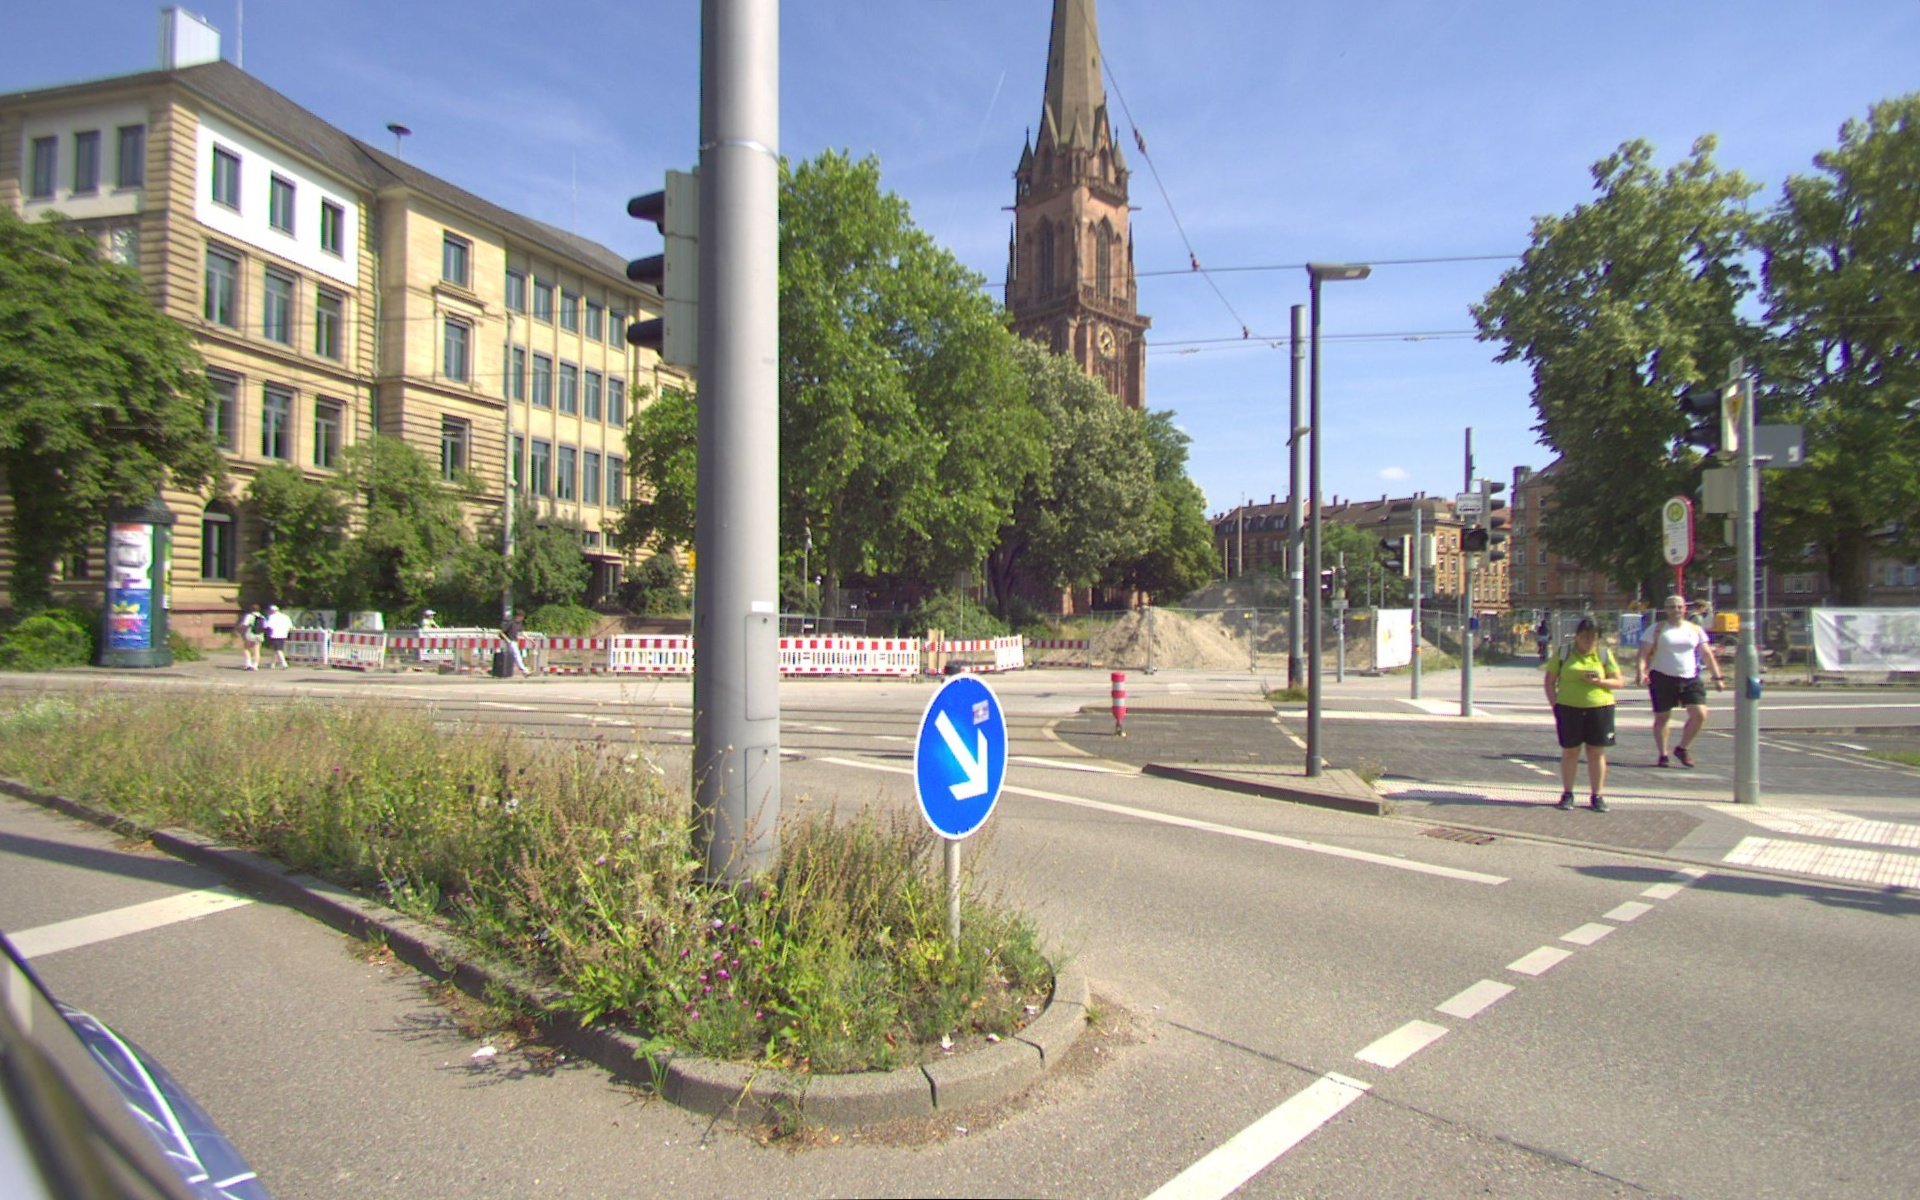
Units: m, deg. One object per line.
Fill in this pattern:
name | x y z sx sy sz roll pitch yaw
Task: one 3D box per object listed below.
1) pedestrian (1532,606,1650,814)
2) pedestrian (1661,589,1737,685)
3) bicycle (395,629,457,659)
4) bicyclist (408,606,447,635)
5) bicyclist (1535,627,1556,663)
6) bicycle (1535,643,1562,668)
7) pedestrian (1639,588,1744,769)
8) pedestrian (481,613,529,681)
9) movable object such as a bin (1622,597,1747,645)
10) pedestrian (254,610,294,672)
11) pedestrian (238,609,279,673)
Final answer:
pedestrian | 5.017 0.840 8.052 0.417 1.555 0.669 -2 1 -42
pedestrian | 13.463 0.668 18.455 0.923 1.726 0.558 -1 -2 1
bicycle | -17.149 1.399 32.494 1.646 0.954 0.700 0 -2 8
bicyclist | -17.109 0.666 32.509 0.859 0.934 0.681 0 -1 8
bicyclist | 23.013 1.769 39.801 0.616 1.370 1.163 0 -2 25
bicycle | 22.871 2.144 39.360 0.758 0.930 2.052 0 -2 26
pedestrian | 7.767 0.809 10.752 0.840 1.826 0.641 -2 -2 38
pedestrian | -11.377 1.165 25.313 0.925 1.668 0.846 1 -2 -35
movable object such as a bin | 48.097 1.377 67.298 6.552 3.032 2.547 -1 -2 42
pedestrian | -19.550 1.162 28.846 0.733 1.763 0.586 1 -2 -11
pedestrian | -19.534 1.138 28.201 0.733 1.763 0.586 1 -2 -9
